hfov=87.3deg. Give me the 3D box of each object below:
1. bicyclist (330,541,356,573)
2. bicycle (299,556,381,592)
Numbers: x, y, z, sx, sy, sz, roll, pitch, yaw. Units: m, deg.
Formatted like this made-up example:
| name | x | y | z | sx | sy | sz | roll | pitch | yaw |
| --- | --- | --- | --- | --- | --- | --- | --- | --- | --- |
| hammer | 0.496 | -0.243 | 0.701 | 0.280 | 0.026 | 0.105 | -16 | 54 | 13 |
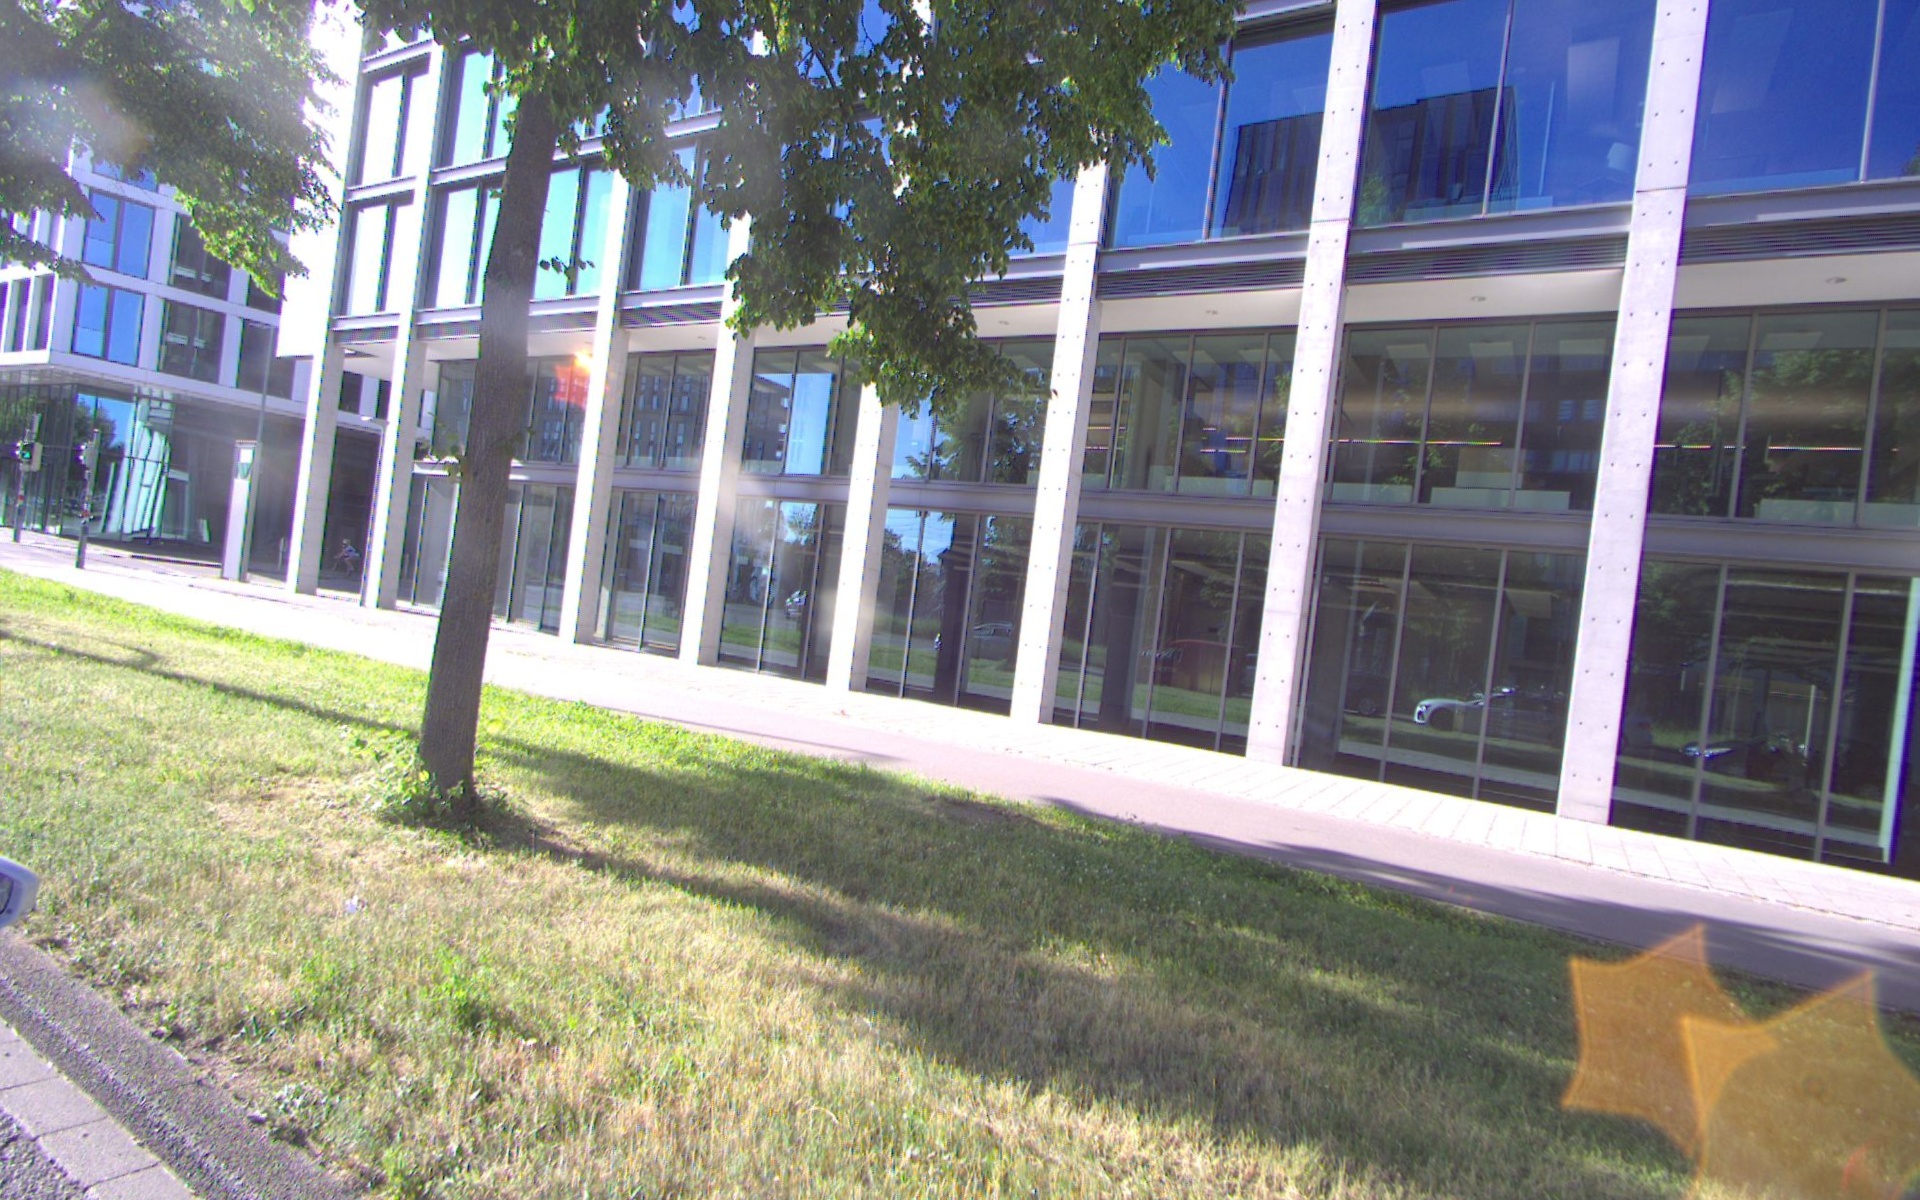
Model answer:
| name | x | y | z | sx | sy | sz | roll | pitch | yaw |
| --- | --- | --- | --- | --- | --- | --- | --- | --- | --- |
| bicyclist | -26.558 | -1.851 | 43.297 | 0.678 | 1.290 | 0.811 | 7 | 0 | -43 |
| bicycle | -26.656 | -1.109 | 43.294 | 2.829 | 1.128 | 0.810 | 8 | -1 | -44 |
